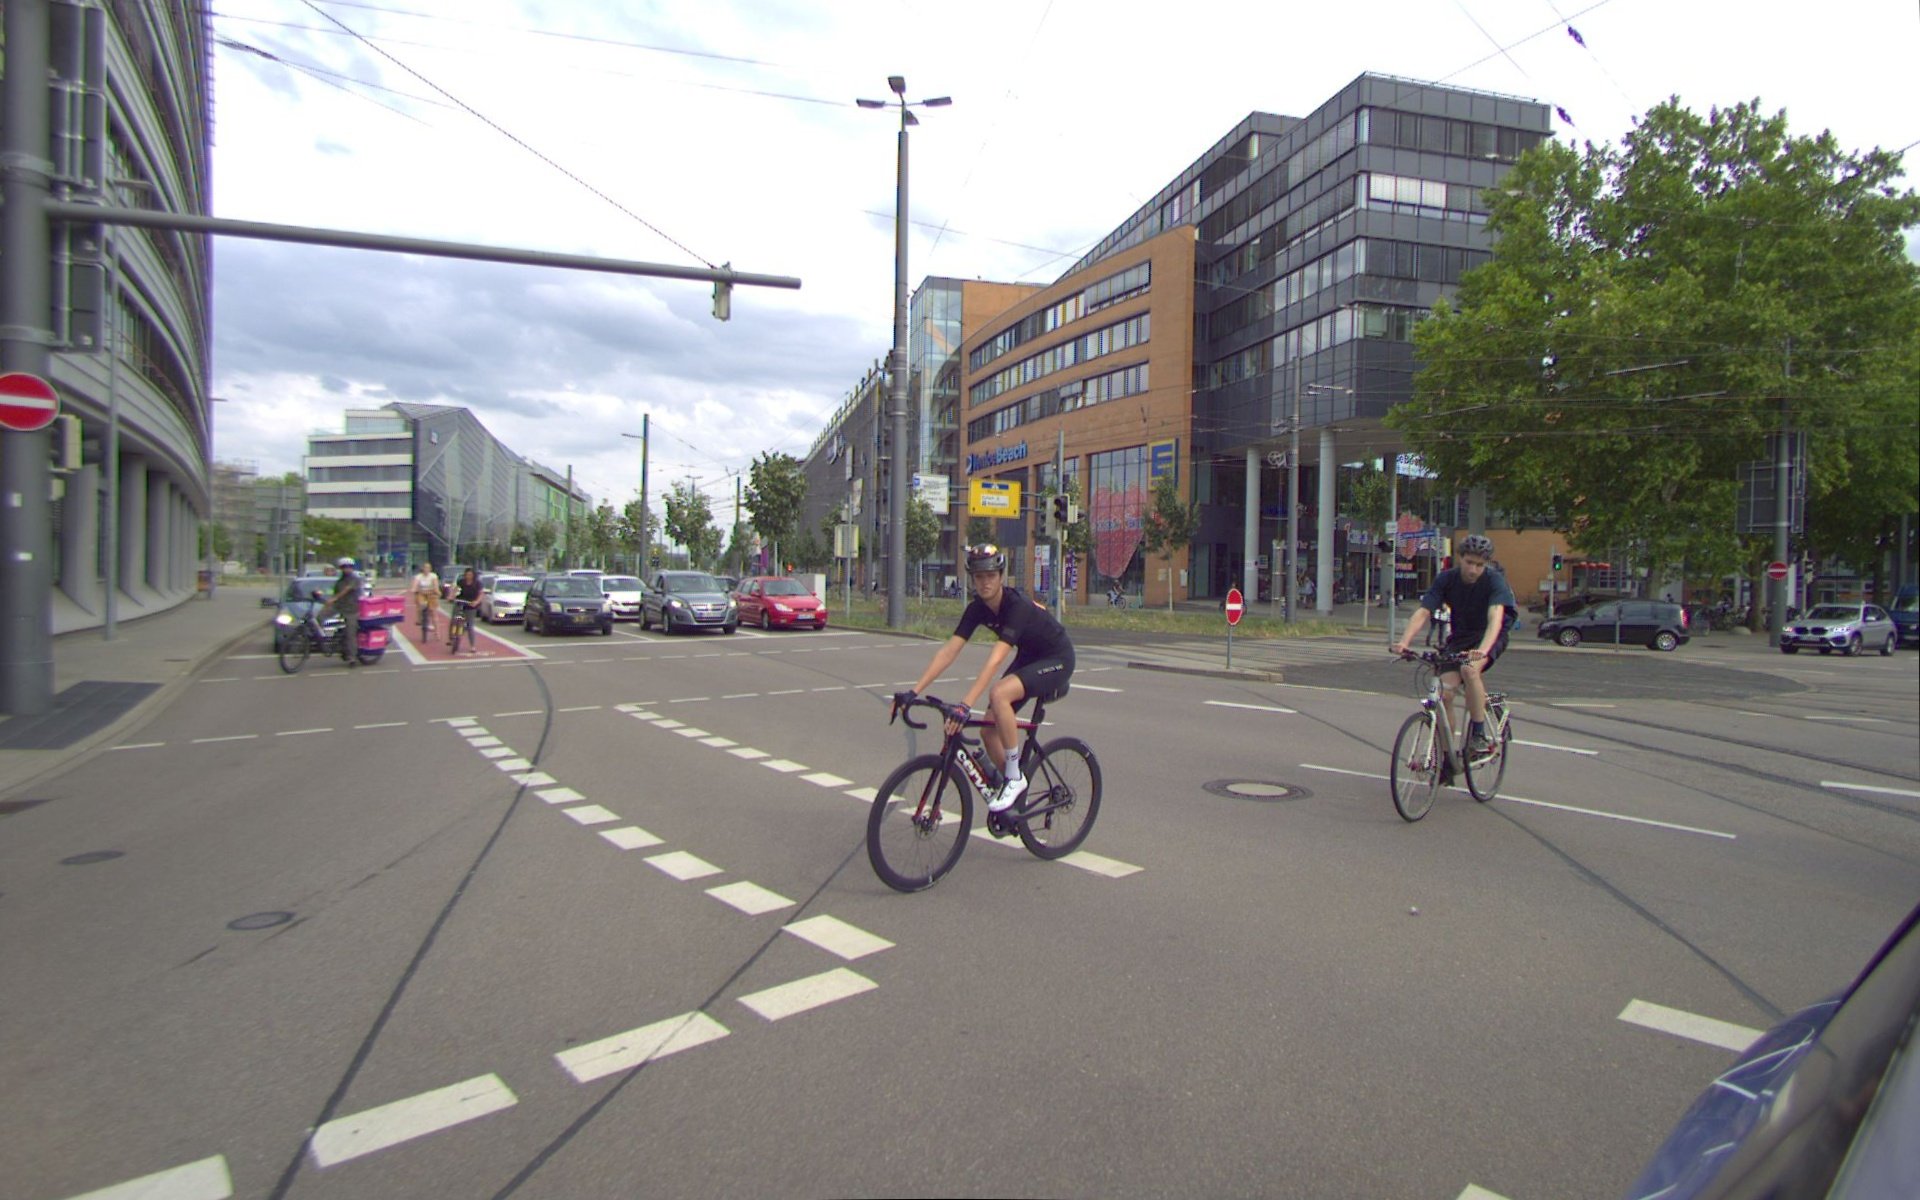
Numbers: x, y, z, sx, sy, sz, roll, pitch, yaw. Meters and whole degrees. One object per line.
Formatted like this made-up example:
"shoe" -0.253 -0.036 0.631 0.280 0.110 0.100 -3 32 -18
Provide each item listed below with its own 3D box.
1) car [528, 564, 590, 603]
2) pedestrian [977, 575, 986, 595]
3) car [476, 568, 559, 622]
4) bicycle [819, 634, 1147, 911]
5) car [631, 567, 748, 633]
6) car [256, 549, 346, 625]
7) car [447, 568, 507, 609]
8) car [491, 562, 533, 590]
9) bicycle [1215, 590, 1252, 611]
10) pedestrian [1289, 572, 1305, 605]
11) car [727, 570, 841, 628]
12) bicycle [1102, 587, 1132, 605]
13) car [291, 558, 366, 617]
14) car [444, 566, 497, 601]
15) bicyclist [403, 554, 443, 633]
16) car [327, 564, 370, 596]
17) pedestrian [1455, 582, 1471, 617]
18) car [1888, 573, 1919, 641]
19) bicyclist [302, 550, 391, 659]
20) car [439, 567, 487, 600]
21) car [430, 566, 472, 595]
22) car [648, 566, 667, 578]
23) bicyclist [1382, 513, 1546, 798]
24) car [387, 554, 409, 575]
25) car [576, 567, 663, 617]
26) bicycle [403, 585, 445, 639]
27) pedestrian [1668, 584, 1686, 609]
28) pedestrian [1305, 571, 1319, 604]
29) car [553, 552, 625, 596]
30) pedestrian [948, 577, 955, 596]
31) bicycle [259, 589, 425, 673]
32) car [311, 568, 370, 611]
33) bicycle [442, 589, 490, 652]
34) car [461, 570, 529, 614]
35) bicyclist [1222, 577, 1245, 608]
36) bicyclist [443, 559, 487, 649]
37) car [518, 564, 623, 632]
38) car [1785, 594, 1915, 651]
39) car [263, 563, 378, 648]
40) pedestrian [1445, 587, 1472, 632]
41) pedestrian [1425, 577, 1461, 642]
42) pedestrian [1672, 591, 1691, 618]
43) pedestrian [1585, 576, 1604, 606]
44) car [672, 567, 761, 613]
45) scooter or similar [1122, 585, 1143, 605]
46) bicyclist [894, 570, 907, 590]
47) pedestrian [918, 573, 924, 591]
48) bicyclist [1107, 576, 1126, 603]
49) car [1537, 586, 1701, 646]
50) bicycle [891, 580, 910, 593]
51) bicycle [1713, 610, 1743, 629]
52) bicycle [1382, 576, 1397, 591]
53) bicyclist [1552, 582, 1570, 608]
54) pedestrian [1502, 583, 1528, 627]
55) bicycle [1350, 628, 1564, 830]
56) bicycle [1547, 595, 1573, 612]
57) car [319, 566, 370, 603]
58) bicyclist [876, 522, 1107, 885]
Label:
"car" -17.186 -0.737 43.307 1.787 1.551 4.004 -1 2 -32
"pedestrian" 1.744 -1.185 82.034 0.603 1.619 0.448 1 1 -16
"car" -13.535 -0.205 30.828 1.787 1.479 4.004 -1 2 -32
"bicycle" 0.168 0.784 5.224 1.703 1.153 0.595 0 2 -40
"car" -7.101 -0.077 26.294 1.787 1.551 4.224 -1 2 -32
"car" -16.806 -0.375 25.941 1.787 1.783 4.004 0 2 -32
"car" -19.642 -0.525 41.108 1.787 1.551 4.004 -1 2 -32
"car" -27.770 -1.534 62.666 1.787 1.687 4.415 -1 2 -32
"bicycle" 14.745 0.029 54.665 0.625 1.023 2.007 1 2 -32
"pedestrian" 19.700 -0.680 59.125 0.614 1.889 0.673 2 1 0
"car" -4.999 -0.087 28.377 1.787 1.450 4.004 -1 2 -32
"bicycle" 9.673 -0.252 62.501 0.625 1.023 2.007 0 2 -32
"car" -18.826 -0.429 30.242 1.787 1.640 4.172 0 2 -32
"car" -22.043 -0.763 45.477 1.754 1.479 4.004 -1 2 -32
"bicyclist" -11.880 -0.165 22.370 0.730 1.687 0.982 -2 2 -30
"car" -30.369 -1.015 50.248 1.754 1.479 4.004 -1 2 -32
"pedestrian" 28.007 -0.032 56.307 0.504 1.889 0.547 1 1 -13
"car" 38.009 0.267 38.907 6.866 2.486 2.176 0 1 -37
"bicyclist" -9.919 0.047 16.396 0.652 1.695 1.029 0 2 19
"car" -25.001 -0.862 50.866 1.787 1.551 4.004 -1 2 -32
"car" -28.698 -1.123 57.035 1.787 1.551 4.004 -1 2 -32
"car" -40.217 -3.748 134.716 1.729 1.639 4.006 1 2 -6
"bicyclist" 3.449 0.343 6.910 1.016 1.792 0.591 1 1 -40
"car" -58.286 -3.668 104.897 1.787 2.044 4.004 1 1 -32
"car" -10.955 -0.311 32.363 1.787 1.479 4.004 -1 2 -32
"bicycle" -11.892 0.242 22.403 0.735 1.069 2.224 -2 3 -30
"pedestrian" 44.429 -0.217 62.683 0.668 1.529 0.589 0 2 -16
"pedestrian" 20.240 -0.701 58.217 0.535 1.889 0.515 1 1 -6
"car" -14.009 -1.013 38.076 1.787 1.551 4.004 -1 2 -32
"pedestrian" -0.720 -1.169 86.952 0.475 1.619 0.448 1 1 -16
"bicycle" -9.924 0.447 16.390 0.652 1.152 2.426 1 3 19
"car" -23.256 -0.439 37.991 1.787 1.479 4.004 -1 2 -32
"bicycle" -9.531 0.368 19.494 0.670 1.069 2.209 -2 3 -29
"car" -17.074 -0.340 37.078 1.787 1.479 4.004 -1 2 -32
"bicyclist" 14.766 -0.399 54.649 0.625 1.636 0.979 1 1 -33
"bicyclist" -9.548 0.058 19.516 0.662 1.687 0.982 -2 2 -30
"car" -9.951 -0.111 25.706 1.787 1.551 4.004 0 2 -32
"car" 28.484 0.679 32.359 4.548 1.682 1.966 0 0 -33
"car" -12.958 0.021 20.597 1.787 1.551 4.004 -1 2 -32
"pedestrian" 18.682 0.342 37.954 0.729 1.672 0.588 0 1 -32
"pedestrian" 13.818 0.261 28.955 0.657 1.814 0.678 0 1 -38
"pedestrian" 40.745 0.246 57.163 0.669 1.529 0.589 -1 2 -28
"pedestrian" 37.861 -0.561 60.423 0.730 1.753 0.587 1 1 4
"car" -8.311 -0.383 34.271 1.787 1.450 4.004 -1 2 -32
"scooter or similar" 10.948 -0.325 64.235 0.476 1.181 1.477 0 2 -27
"bicyclist" -5.066 -1.679 85.871 0.625 1.636 0.979 1 1 -33
"pedestrian" -3.592 -1.674 92.929 0.437 1.619 0.486 1 1 -23
"bicyclist" 9.684 -0.679 62.503 0.625 1.636 0.979 0 2 -33
"car" 21.189 0.472 32.758 4.134 1.760 1.949 1 1 24
"bicycle" -5.047 -1.121 85.822 0.625 1.023 2.007 1 2 -33
"bicycle" 38.283 0.959 50.434 1.688 0.928 0.536 0 2 -30
"bicycle" 26.457 -1.021 62.346 0.528 0.928 1.558 1 2 12
"bicyclist" 33.491 -0.272 56.412 0.723 1.450 0.532 0 1 -30
"pedestrian" 22.353 0.198 40.767 0.729 1.753 0.588 0 1 -32
"bicycle" 3.426 0.800 6.904 1.825 1.153 0.595 0 2 -40
"bicycle" 33.444 0.205 56.396 1.510 0.928 0.536 0 2 -30
"car" -26.332 -0.700 43.292 1.754 1.479 4.004 -1 2 -32
"bicyclist" 0.172 0.469 5.212 1.016 1.674 0.591 1 1 -40
